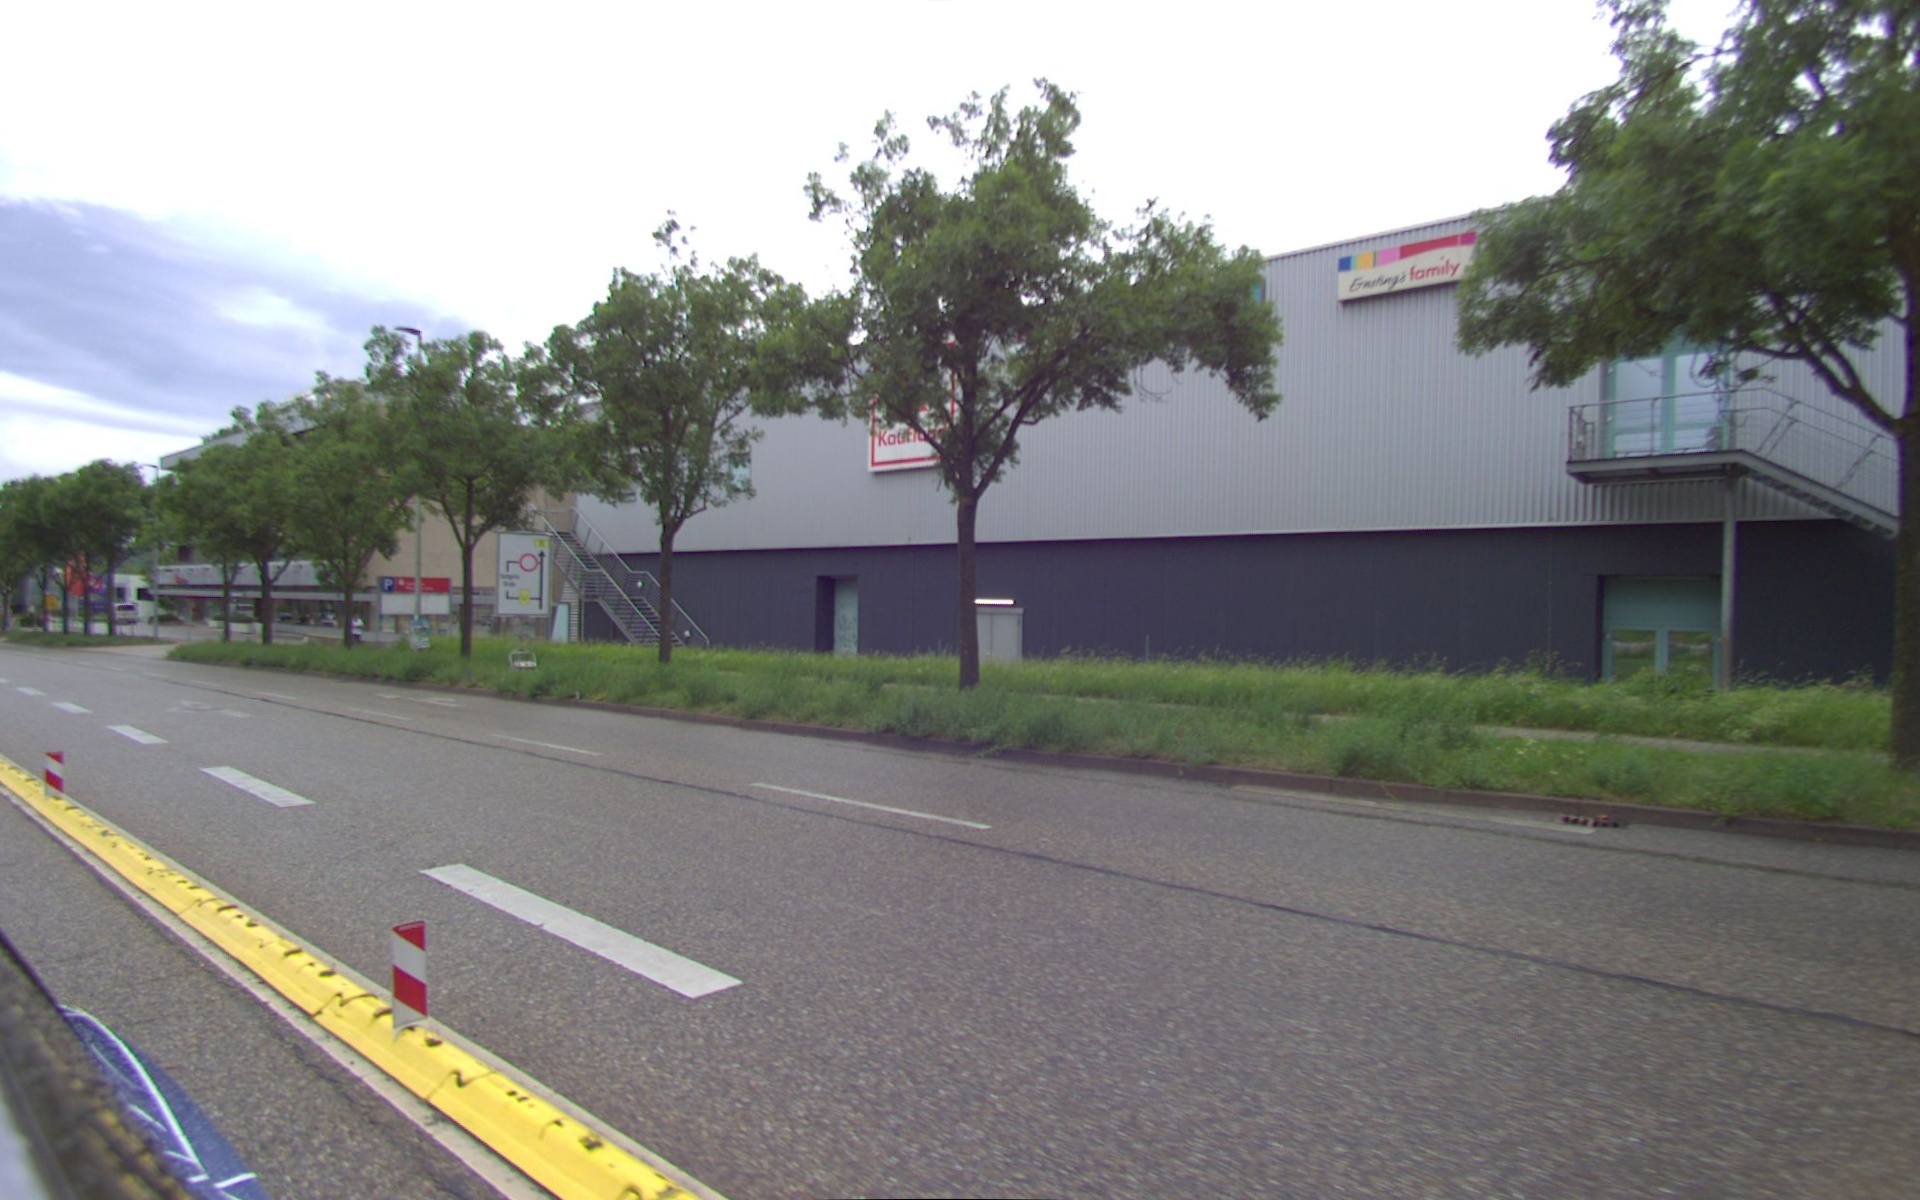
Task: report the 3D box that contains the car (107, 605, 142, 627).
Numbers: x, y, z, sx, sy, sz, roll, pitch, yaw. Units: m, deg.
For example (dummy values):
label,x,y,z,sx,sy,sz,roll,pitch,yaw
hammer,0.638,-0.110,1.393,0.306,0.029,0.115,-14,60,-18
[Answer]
label,x,y,z,sx,sy,sz,roll,pitch,yaw
car,-82.175,1.540,99.520,4.887,2.028,1.972,0,3,44

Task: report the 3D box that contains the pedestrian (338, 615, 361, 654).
label,x,y,z,sx,sy,sz,roll,pitch,yaw
pedestrian,-25.212,1.416,41.796,0.766,1.595,0.578,-1,0,41
